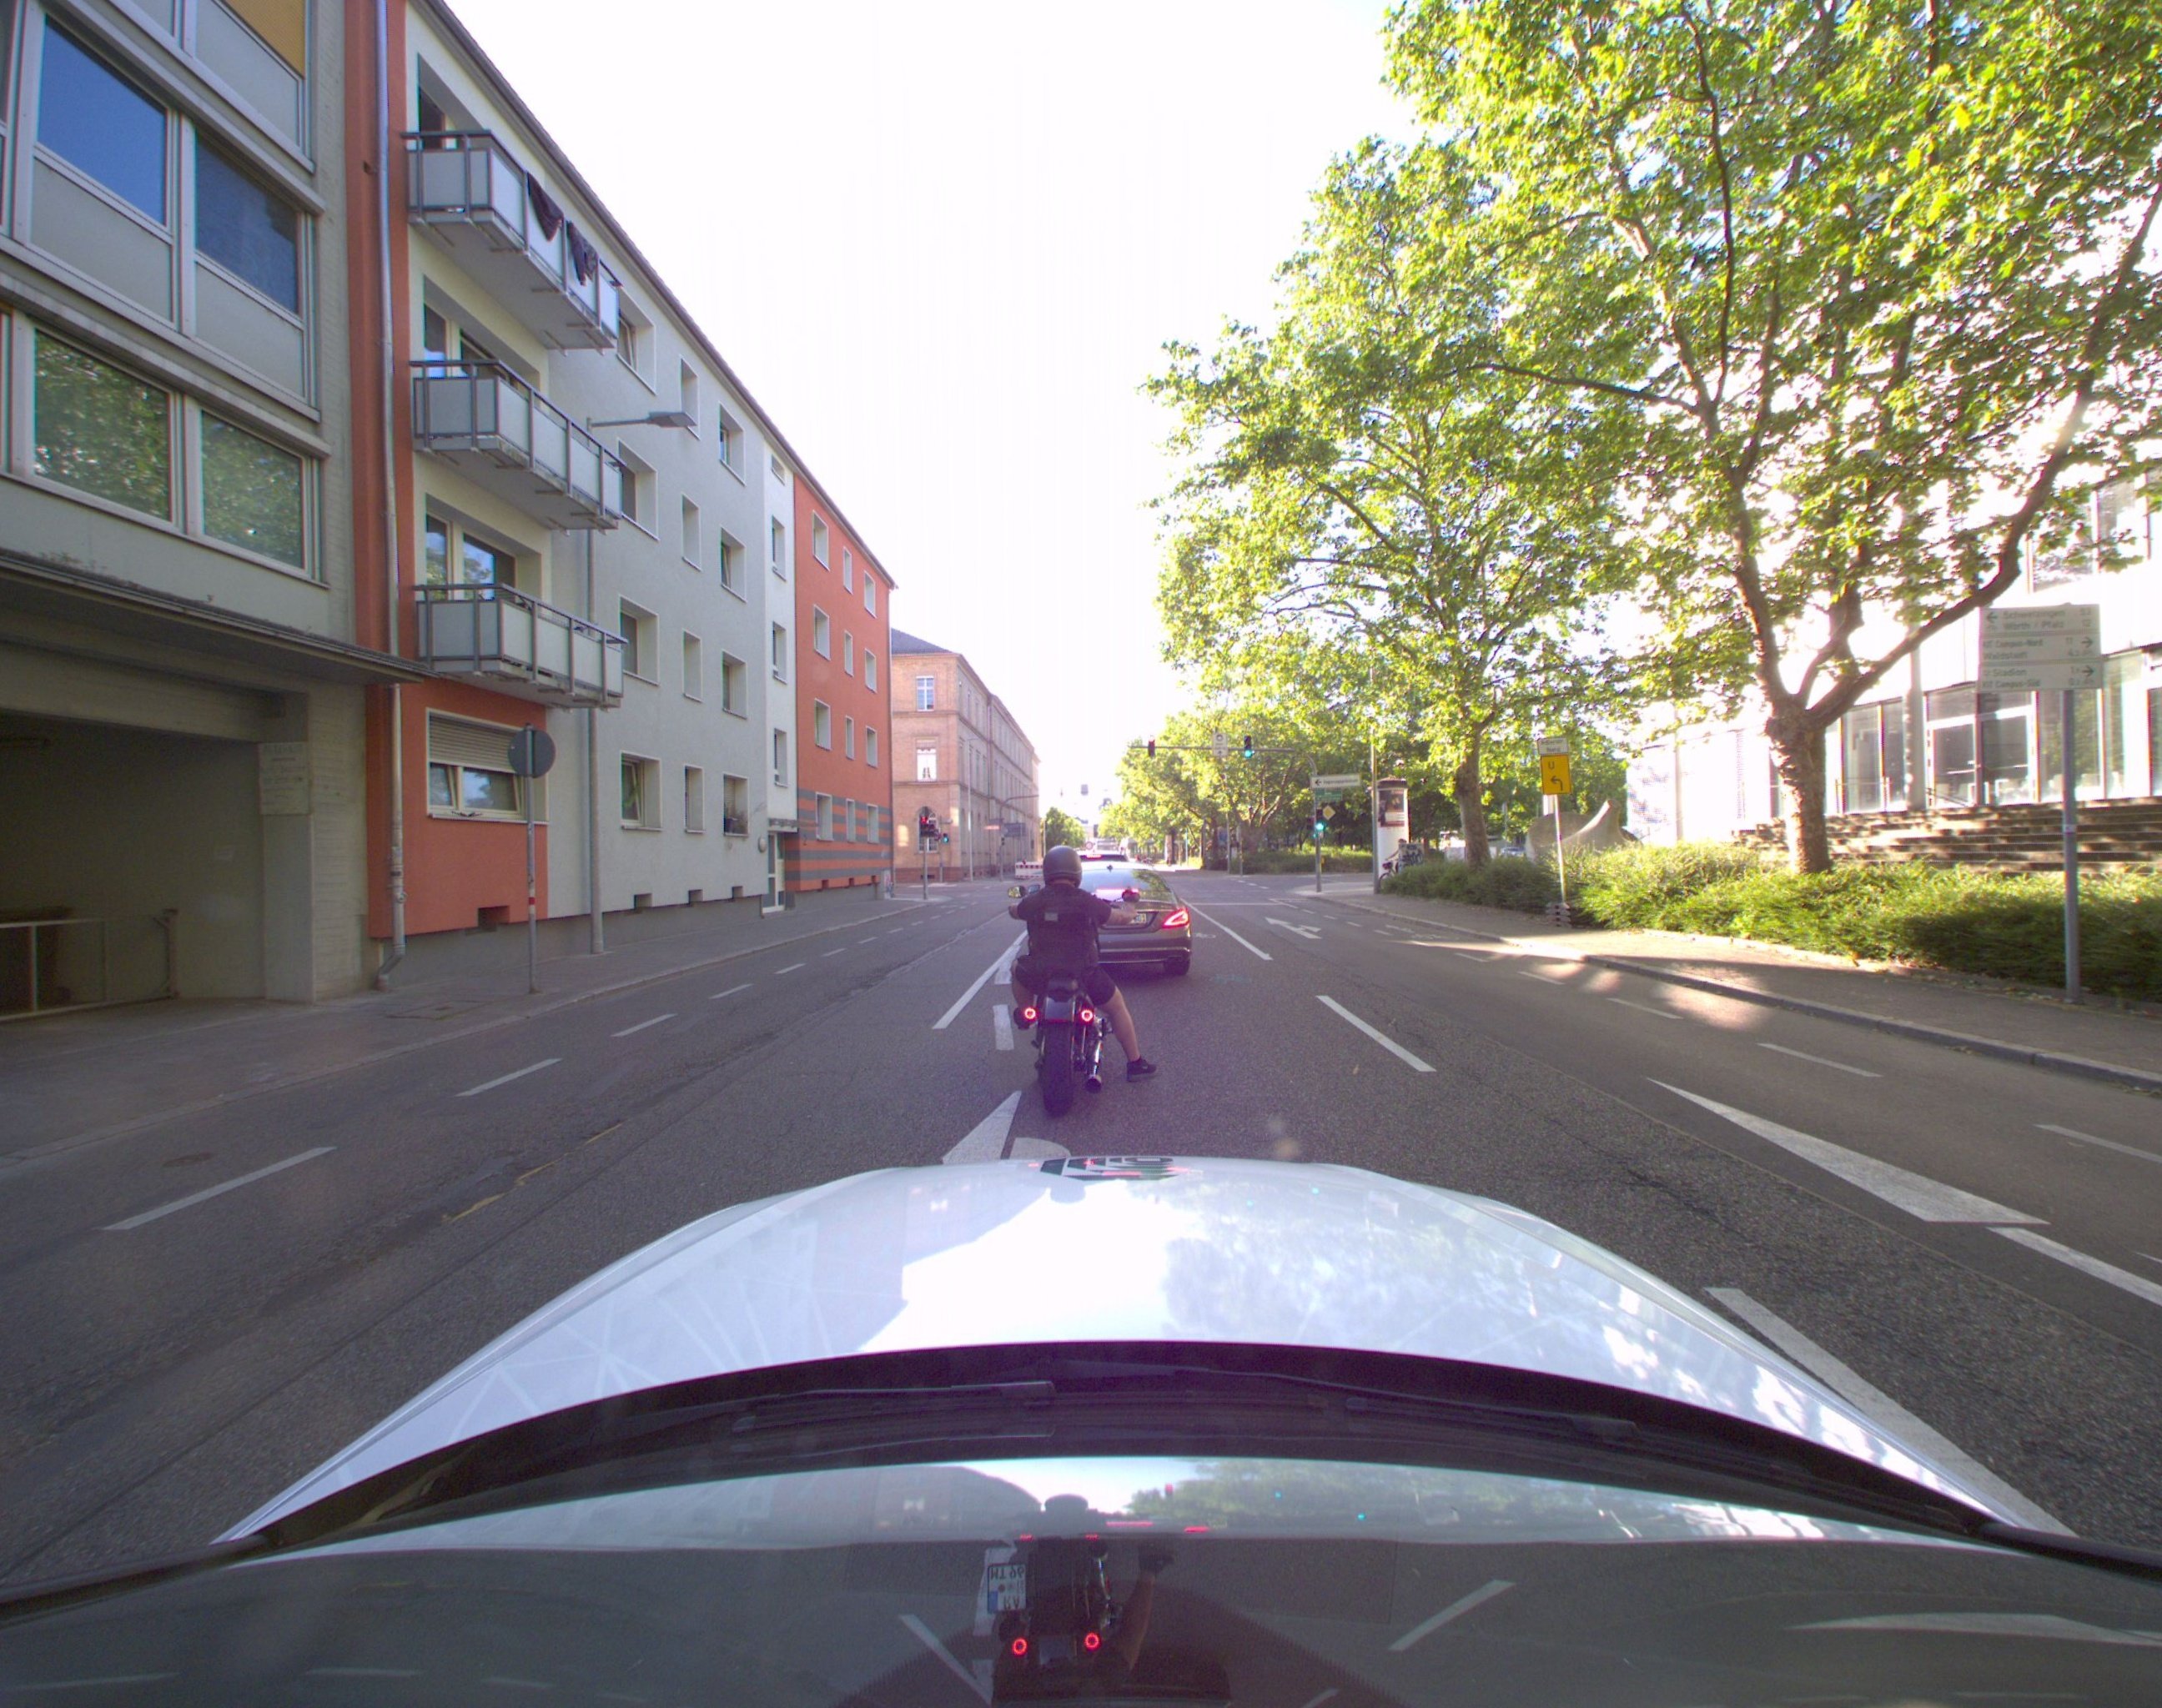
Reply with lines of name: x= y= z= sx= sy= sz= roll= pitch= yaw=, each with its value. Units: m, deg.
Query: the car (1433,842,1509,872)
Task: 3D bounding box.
car: x=24.628 y=0.201 z=51.524 sx=3.974 sy=1.772 sz=1.738 roll=-1 pitch=0 yaw=-1

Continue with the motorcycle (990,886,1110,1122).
motorcycle: x=-0.138 y=0.869 z=5.539 sx=0.657 sy=1.240 sz=2.058 roll=0 pitch=-1 yaw=2

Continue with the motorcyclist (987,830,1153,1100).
motorcyclist: x=-0.050 y=0.671 z=5.446 sx=0.986 sy=1.611 sz=1.121 roll=0 pitch=-1 yaw=1

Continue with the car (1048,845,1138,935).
car: x=0.289 y=0.690 z=17.093 sx=1.645 sy=1.652 sz=4.002 roll=0 pitch=-1 yaw=2

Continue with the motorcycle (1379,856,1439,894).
motorcycle: x=11.073 y=0.710 z=27.543 sx=1.771 sy=1.243 sz=0.724 roll=0 pitch=-1 yaw=7

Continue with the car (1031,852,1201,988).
car: x=0.264 y=0.745 z=11.242 sx=1.821 sy=1.486 sz=4.325 roll=0 pitch=0 yaw=-5

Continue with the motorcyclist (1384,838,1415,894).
motorcyclist: x=10.769 y=0.391 z=27.567 sx=0.818 sy=1.863 sz=0.673 roll=0 pitch=-1 yaw=7
